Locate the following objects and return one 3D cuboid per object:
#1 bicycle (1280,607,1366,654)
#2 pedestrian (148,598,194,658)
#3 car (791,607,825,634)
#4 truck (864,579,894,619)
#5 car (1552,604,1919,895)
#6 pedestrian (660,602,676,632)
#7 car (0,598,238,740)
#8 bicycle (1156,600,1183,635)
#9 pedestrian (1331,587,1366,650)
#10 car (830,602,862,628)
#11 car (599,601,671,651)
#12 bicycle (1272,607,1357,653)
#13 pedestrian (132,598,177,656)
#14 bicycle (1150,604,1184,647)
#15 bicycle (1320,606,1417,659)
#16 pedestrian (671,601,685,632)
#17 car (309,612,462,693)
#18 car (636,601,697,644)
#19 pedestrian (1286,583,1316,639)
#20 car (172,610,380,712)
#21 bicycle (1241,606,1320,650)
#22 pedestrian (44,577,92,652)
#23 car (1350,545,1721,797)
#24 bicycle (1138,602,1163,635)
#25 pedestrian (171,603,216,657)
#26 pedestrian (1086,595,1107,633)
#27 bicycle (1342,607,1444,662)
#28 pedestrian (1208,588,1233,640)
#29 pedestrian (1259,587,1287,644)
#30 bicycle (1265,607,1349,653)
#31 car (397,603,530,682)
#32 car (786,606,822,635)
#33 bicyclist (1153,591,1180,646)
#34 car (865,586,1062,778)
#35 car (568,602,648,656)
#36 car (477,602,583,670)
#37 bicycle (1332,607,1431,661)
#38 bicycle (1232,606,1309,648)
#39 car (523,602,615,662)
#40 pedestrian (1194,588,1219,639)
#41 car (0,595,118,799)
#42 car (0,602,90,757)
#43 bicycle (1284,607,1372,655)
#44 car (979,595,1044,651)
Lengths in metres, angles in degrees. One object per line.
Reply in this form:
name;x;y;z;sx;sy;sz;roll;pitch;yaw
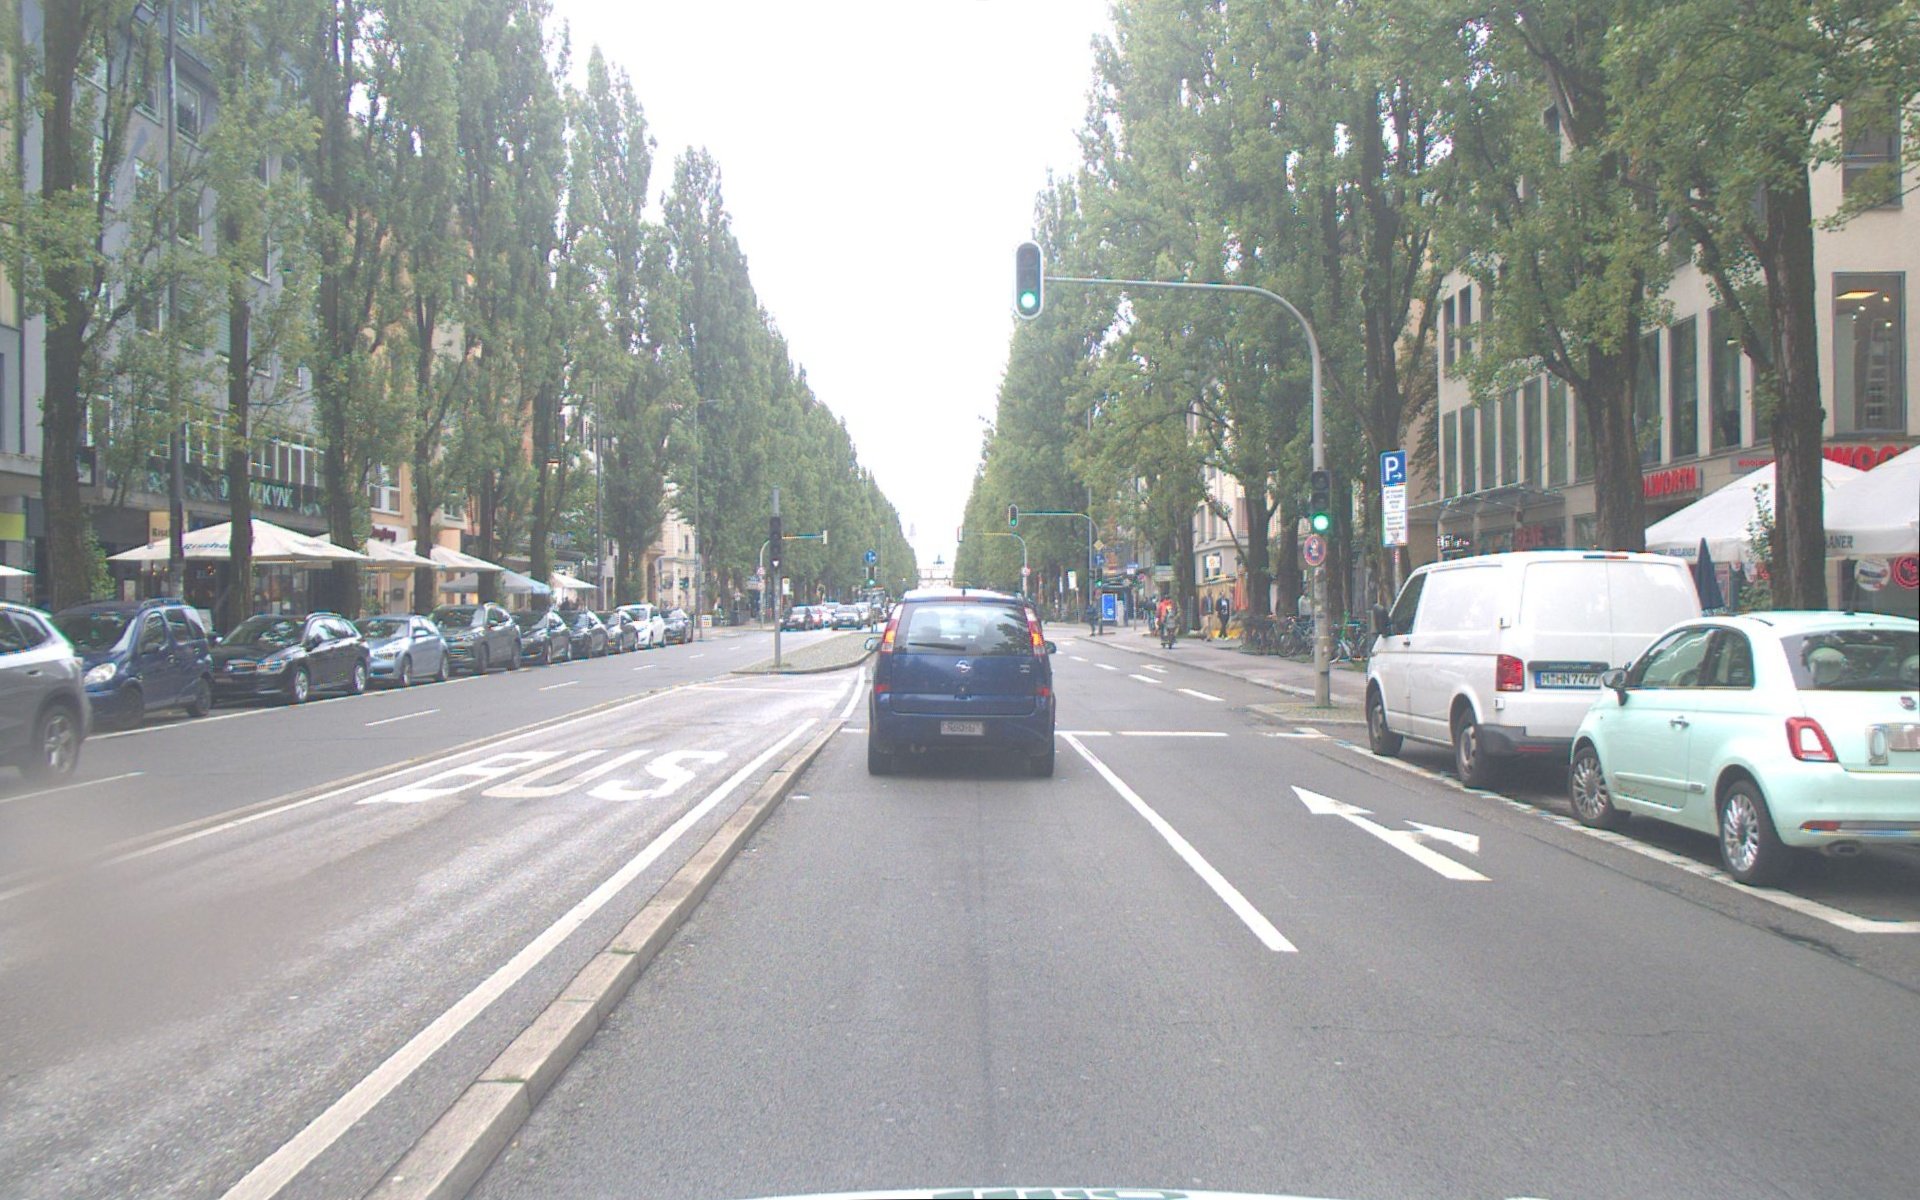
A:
bicycle;9.802;0.815;44.681;2.182;1.225;0.626;-1;0;-3
pedestrian;-19.209;0.671;40.300;0.750;1.434;0.799;1;-1;-6
car;-9.843;1.319;107.334;1.828;1.695;4.119;-1;0;-1
truck;-7.050;-0.089;145.282;2.334;3.405;7.109;-1;0;-1
car;5.108;0.789;10.398;1.509;1.518;3.523;0;0;0
pedestrian;-17.555;1.043;99.460;0.757;1.797;0.878;0;0;-25
car;-11.668;0.884;22.998;1.675;1.751;3.919;-2;0;-4
bicycle;8.448;0.693;66.782;0.757;1.372;2.449;-1;0;-1
pedestrian;11.671;0.564;49.717;0.707;1.859;0.885;1;-1;-11
car;-6.876;0.882;99.938;1.699;1.491;3.364;-1;0;-1
car;-12.042;0.936;61.523;1.828;1.695;4.119;-2;0;-1
bicycle;9.742;0.825;45.478;2.182;1.225;0.626;-1;0;-3
pedestrian;-20.271;0.666;41.623;0.750;1.434;0.799;1;-1;-6
bicycle;6.794;0.822;54.358;0.757;1.372;2.449;-1;0;-1
bicycle;9.963;0.793;40.389;2.182;1.225;0.626;-1;0;-3
pedestrian;-16.617;0.955;97.450;0.755;1.797;0.881;0;0;-16
car;-11.642;1.025;33.791;1.698;1.450;4.142;-2;0;-1
car;-12.170;0.909;68.796;1.828;1.695;4.119;-2;0;-1
pedestrian;11.494;0.362;55.763;0.707;1.859;0.885;1;-1;-11
car;-11.626;0.983;28.441;1.762;1.515;4.349;-2;0;-1
bicycle;9.375;0.822;48.385;2.182;1.225;0.626;-1;0;-3
pedestrian;-20.918;0.346;38.800;0.740;1.715;0.675;-1;-1;0
car;5.105;0.559;15.418;1.751;1.980;4.729;0;0;-1
bicycle;8.270;0.796;71.887;0.757;1.372;2.449;-1;0;-1
pedestrian;-20.682;0.797;44.622;0.780;1.434;0.768;1;-1;11
pedestrian;6.420;0.649;77.555;0.865;1.797;0.769;-1;0;-4
bicycle;9.986;0.790;38.194;2.182;1.225;0.626;-1;0;-3
pedestrian;9.608;0.514;60.925;0.625;1.859;0.885;1;-1;-11
pedestrian;10.503;0.518;55.498;0.625;1.859;0.885;1;-1;-11
bicycle;9.700;0.833;46.273;2.182;1.225;0.626;-1;0;-3
car;-11.701;0.946;39.296;1.828;1.695;4.400;-2;0;-1
car;-9.535;1.218;101.280;1.828;1.695;4.119;-1;0;-1
bicyclist;6.790;0.615;54.479;0.752;1.797;0.885;-1;0;-1
car;0.010;0.689;15.838;1.637;1.596;3.999;0;0;-1
car;-11.922;0.953;56.263;1.828;1.695;4.119;-2;0;-1
car;-11.762;0.948;45.492;1.828;1.695;4.119;-2;0;-1
bicycle;10.013;0.793;39.306;2.182;1.225;0.626;-1;0;-3
bicycle;9.330;0.805;49.763;2.182;1.225;0.626;-1;0;-3
car;-11.944;0.954;50.736;1.828;1.695;4.119;-2;0;-1
pedestrian;9.014;0.494;60.428;0.625;1.859;0.885;1;-1;-11
car;-8.669;0.810;13.154;1.735;1.663;4.454;-1;0;-2
car;-11.429;0.905;17.677;1.828;1.693;4.610;-2;0;-1
bicycle;9.753;0.809;43.871;2.182;1.225;0.626;-1;0;-3
car;1.567;0.688;51.354;1.858;1.650;3.999;0;0;-1
